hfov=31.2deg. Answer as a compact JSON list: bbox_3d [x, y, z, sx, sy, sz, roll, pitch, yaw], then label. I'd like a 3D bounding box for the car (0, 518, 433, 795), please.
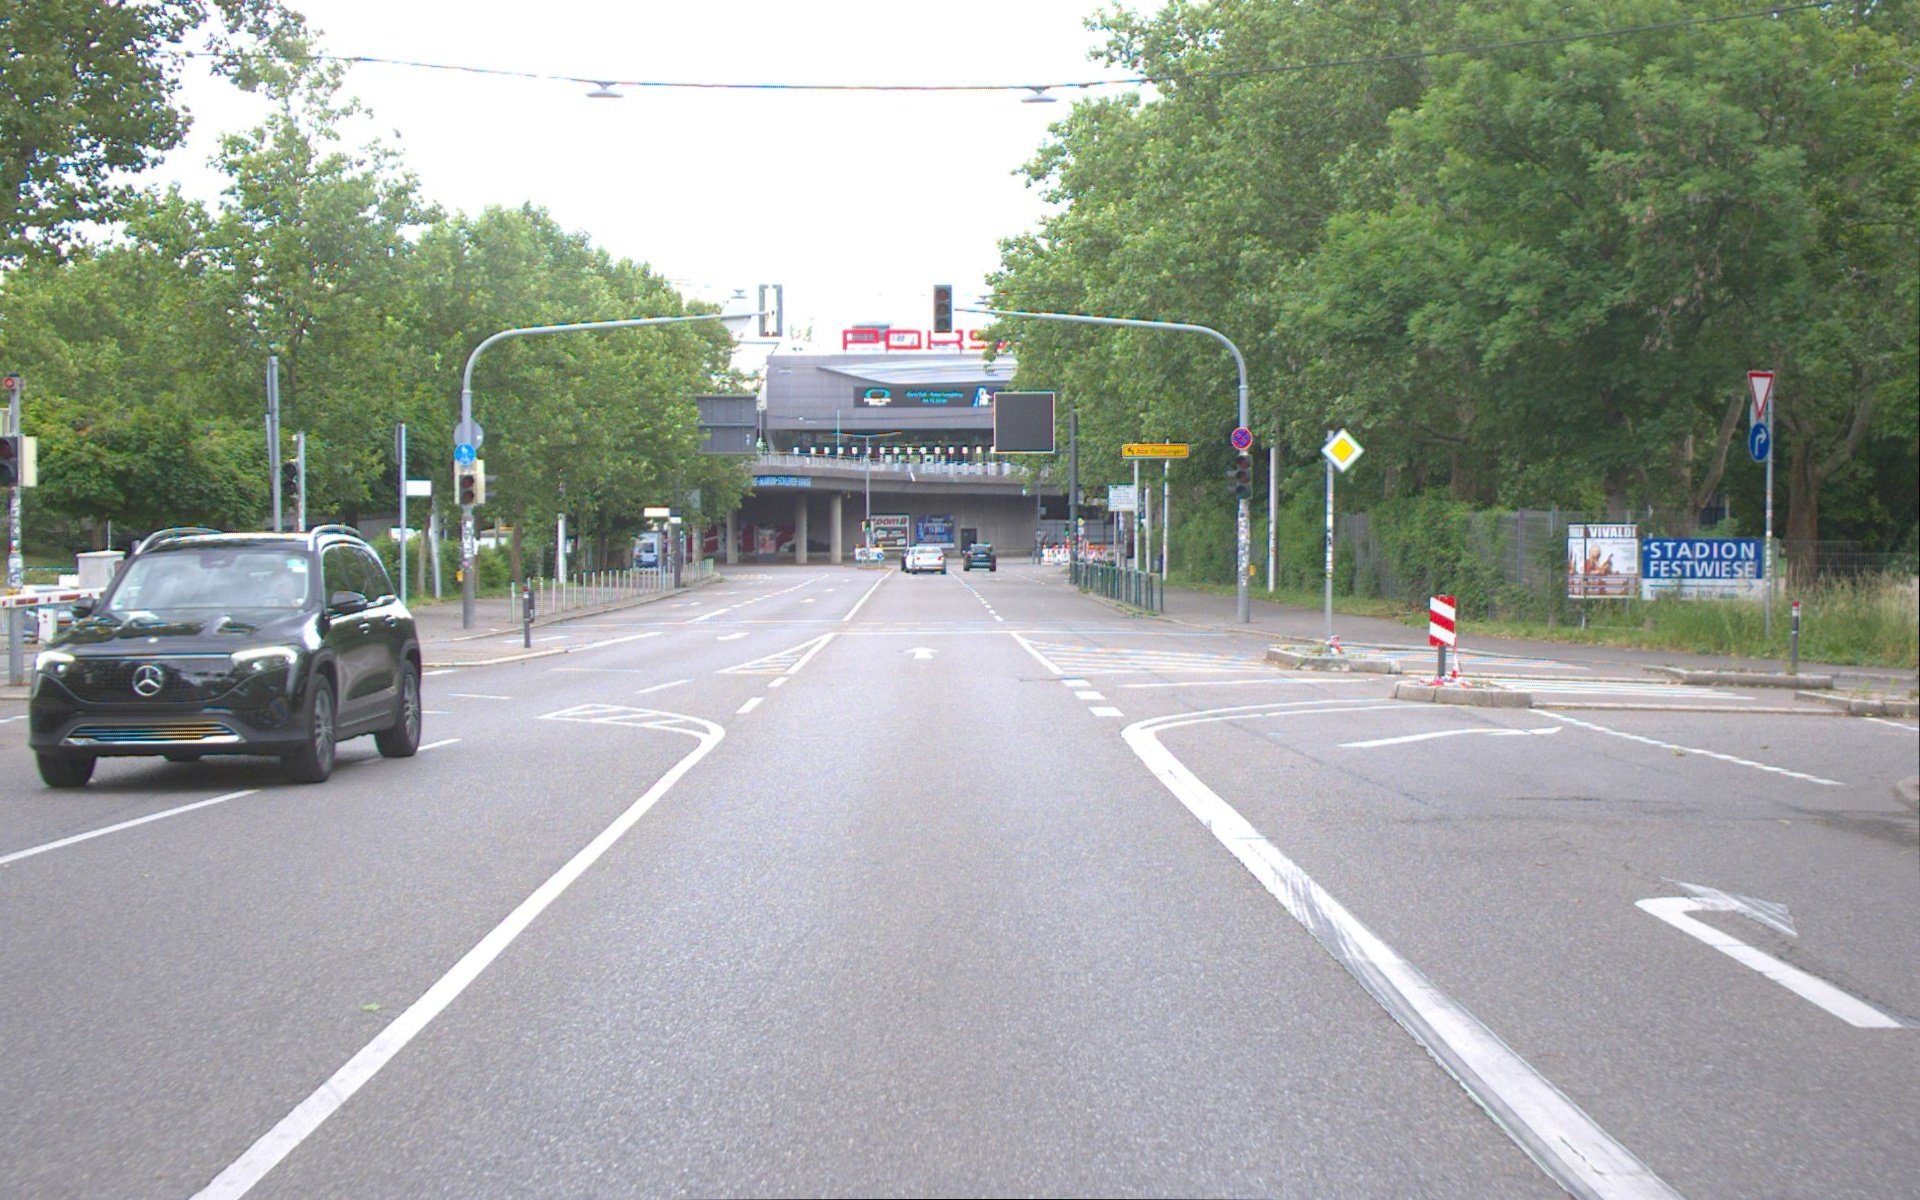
[{"bbox_3d":[-5.022,0.313,23.287,1.994,1.654,4.517,-1,1,2],"label":"car"}]

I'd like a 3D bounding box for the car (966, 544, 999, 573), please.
[{"bbox_3d":[1.368,-2.516,208.624,2.007,1.693,4.069,0,1,1],"label":"car"}]

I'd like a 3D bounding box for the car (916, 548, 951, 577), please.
[{"bbox_3d":[-1.408,-2.021,184.961,1.778,1.455,3.822,2,1,1],"label":"car"}]

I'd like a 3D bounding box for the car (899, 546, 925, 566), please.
[{"bbox_3d":[-2.673,-2.501,193.567,1.411,1.109,3.038,1,1,0],"label":"car"}]
